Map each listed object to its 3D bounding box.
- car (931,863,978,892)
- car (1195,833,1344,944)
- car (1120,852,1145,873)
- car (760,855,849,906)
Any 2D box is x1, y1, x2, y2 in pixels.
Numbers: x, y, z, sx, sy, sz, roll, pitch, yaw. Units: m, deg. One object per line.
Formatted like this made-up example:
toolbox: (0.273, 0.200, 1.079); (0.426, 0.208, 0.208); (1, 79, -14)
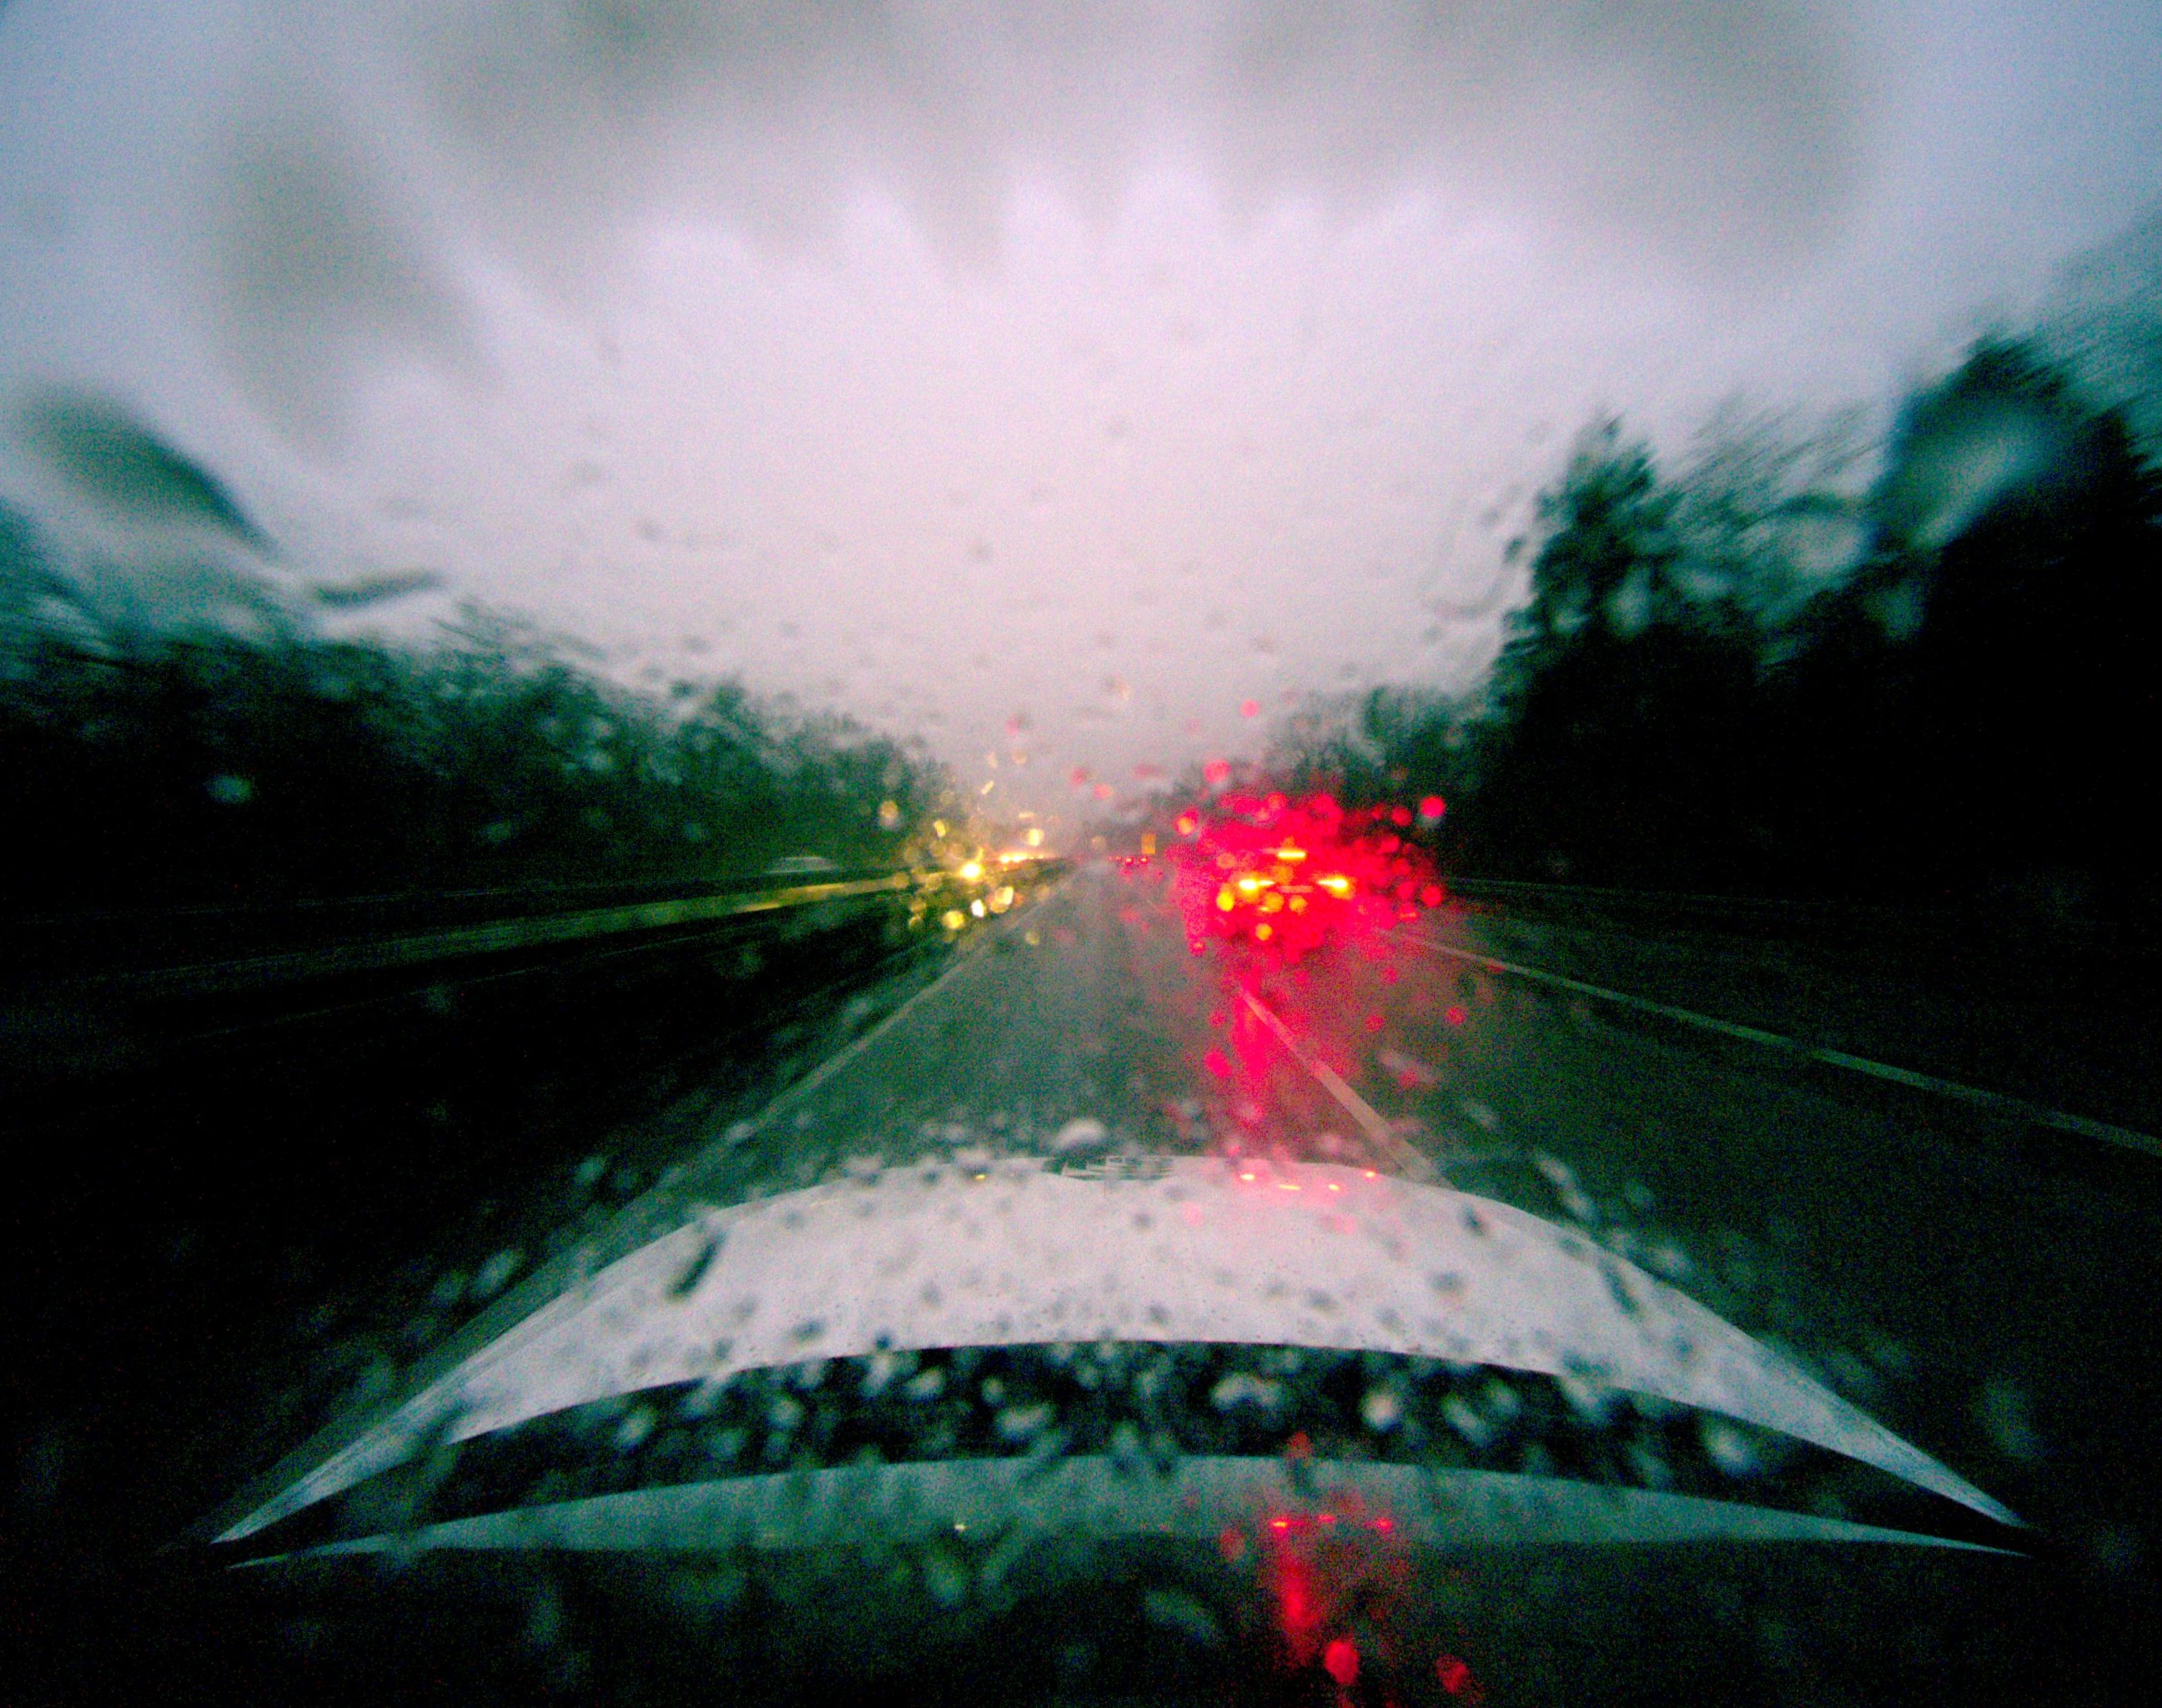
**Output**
car: (-6.571, 1.191, 42.626); (1.536, 1.396, 4.126); (-1, -1, 4)
car: (3.362, 0.576, 15.304); (1.918, 1.791, 3.940); (-1, -1, 0)
car: (4.342, 0.699, 69.279); (1.985, 1.715, 3.831); (-1, -1, 1)
car: (-10.274, 0.950, 30.622); (1.713, 1.747, 4.426); (-1, 0, 1)
